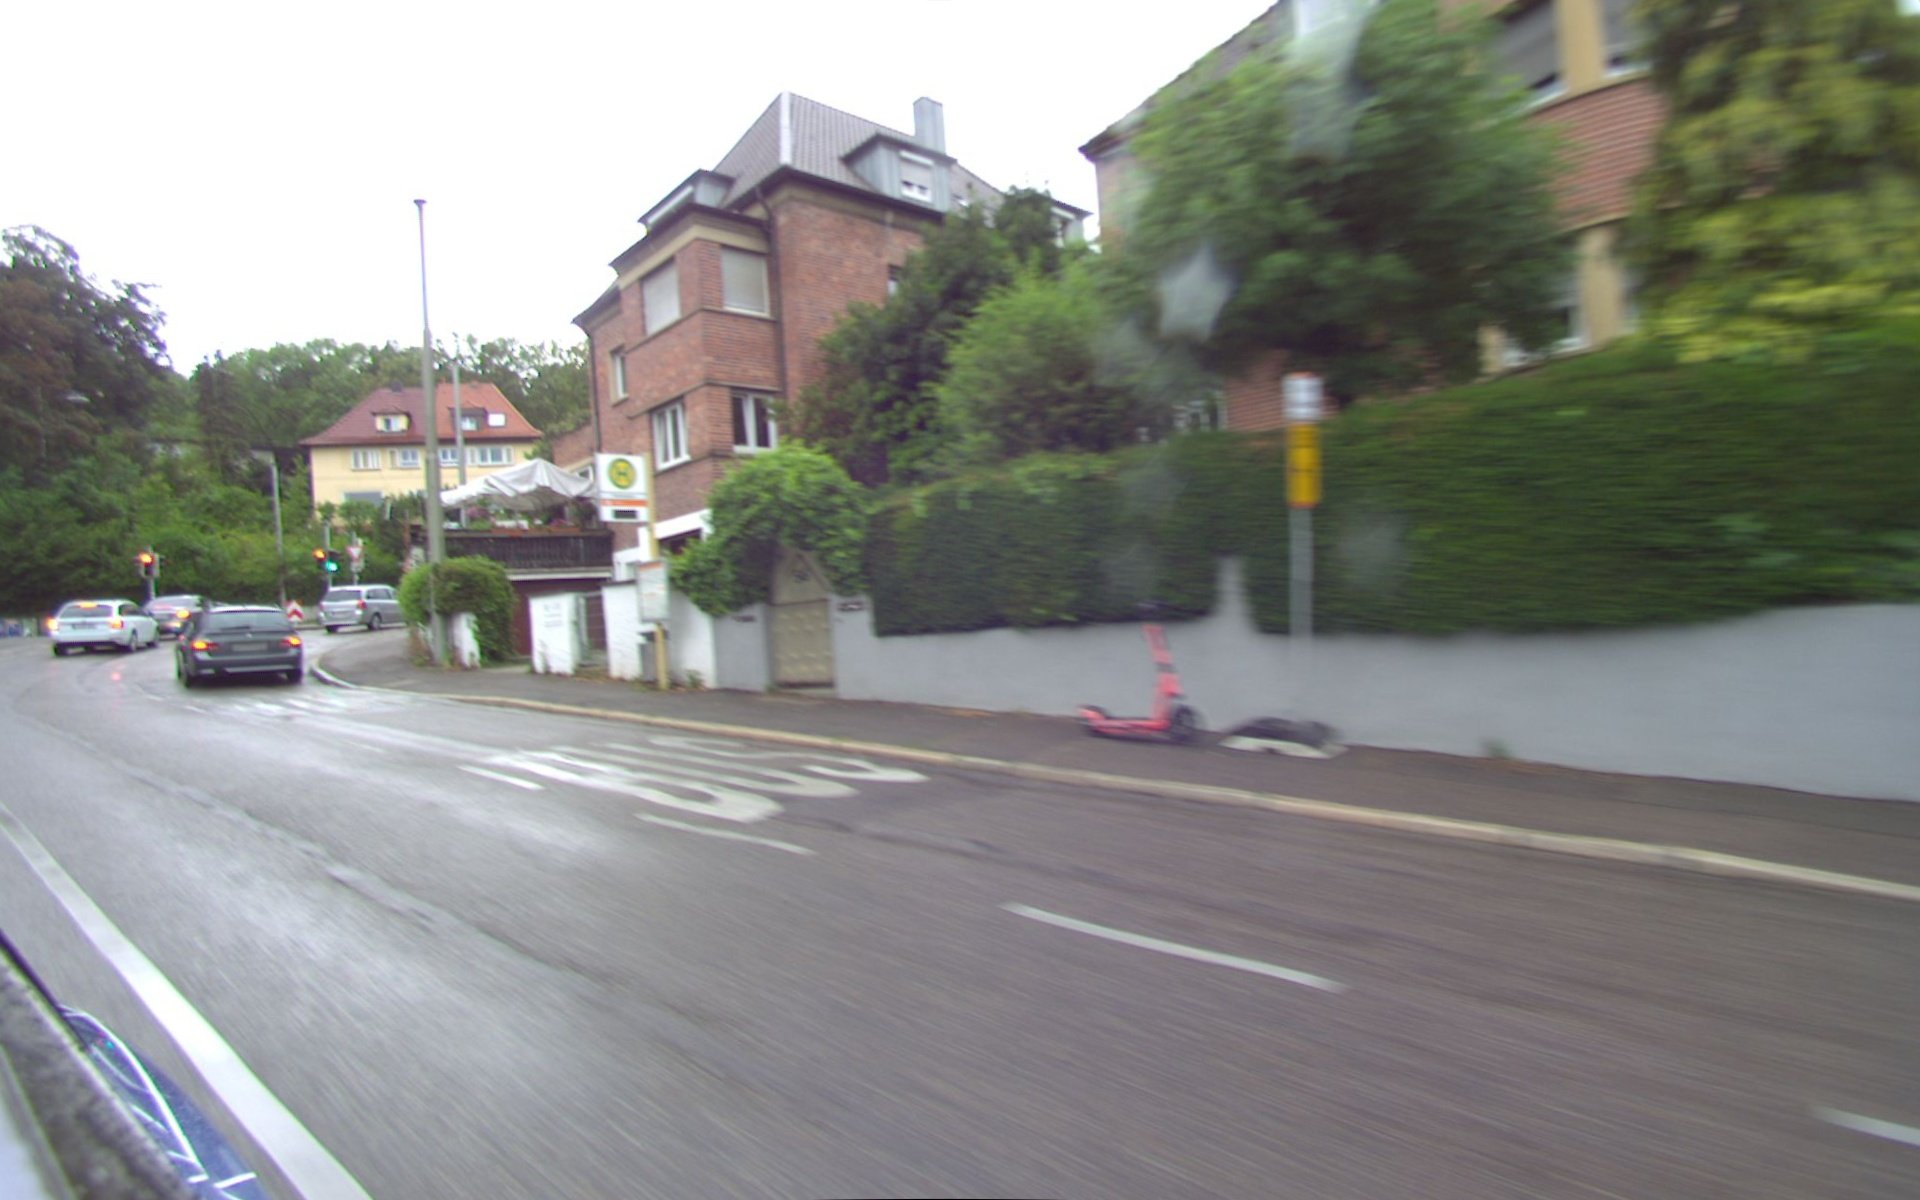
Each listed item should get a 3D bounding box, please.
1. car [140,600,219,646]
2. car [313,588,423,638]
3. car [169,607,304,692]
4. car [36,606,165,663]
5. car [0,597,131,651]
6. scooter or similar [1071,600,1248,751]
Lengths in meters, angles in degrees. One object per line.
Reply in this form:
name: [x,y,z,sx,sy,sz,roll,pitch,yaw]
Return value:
car: [-27.427,0.756,35.704,1.834,1.405,4.609,-2,2,-33]
car: [-21.940,0.426,37.713,1.691,1.597,4.465,-2,2,-4]
car: [-14.206,0.874,19.765,1.715,1.461,4.622,0,0,-41]
car: [-24.565,0.934,29.118,1.821,1.485,4.455,0,0,-27]
car: [-39.303,1.101,44.524,1.980,2.028,3.985,-8,-4,11]
scooter or similar: [1.708,0.626,8.808,1.435,1.213,0.517,-2,-2,42]
